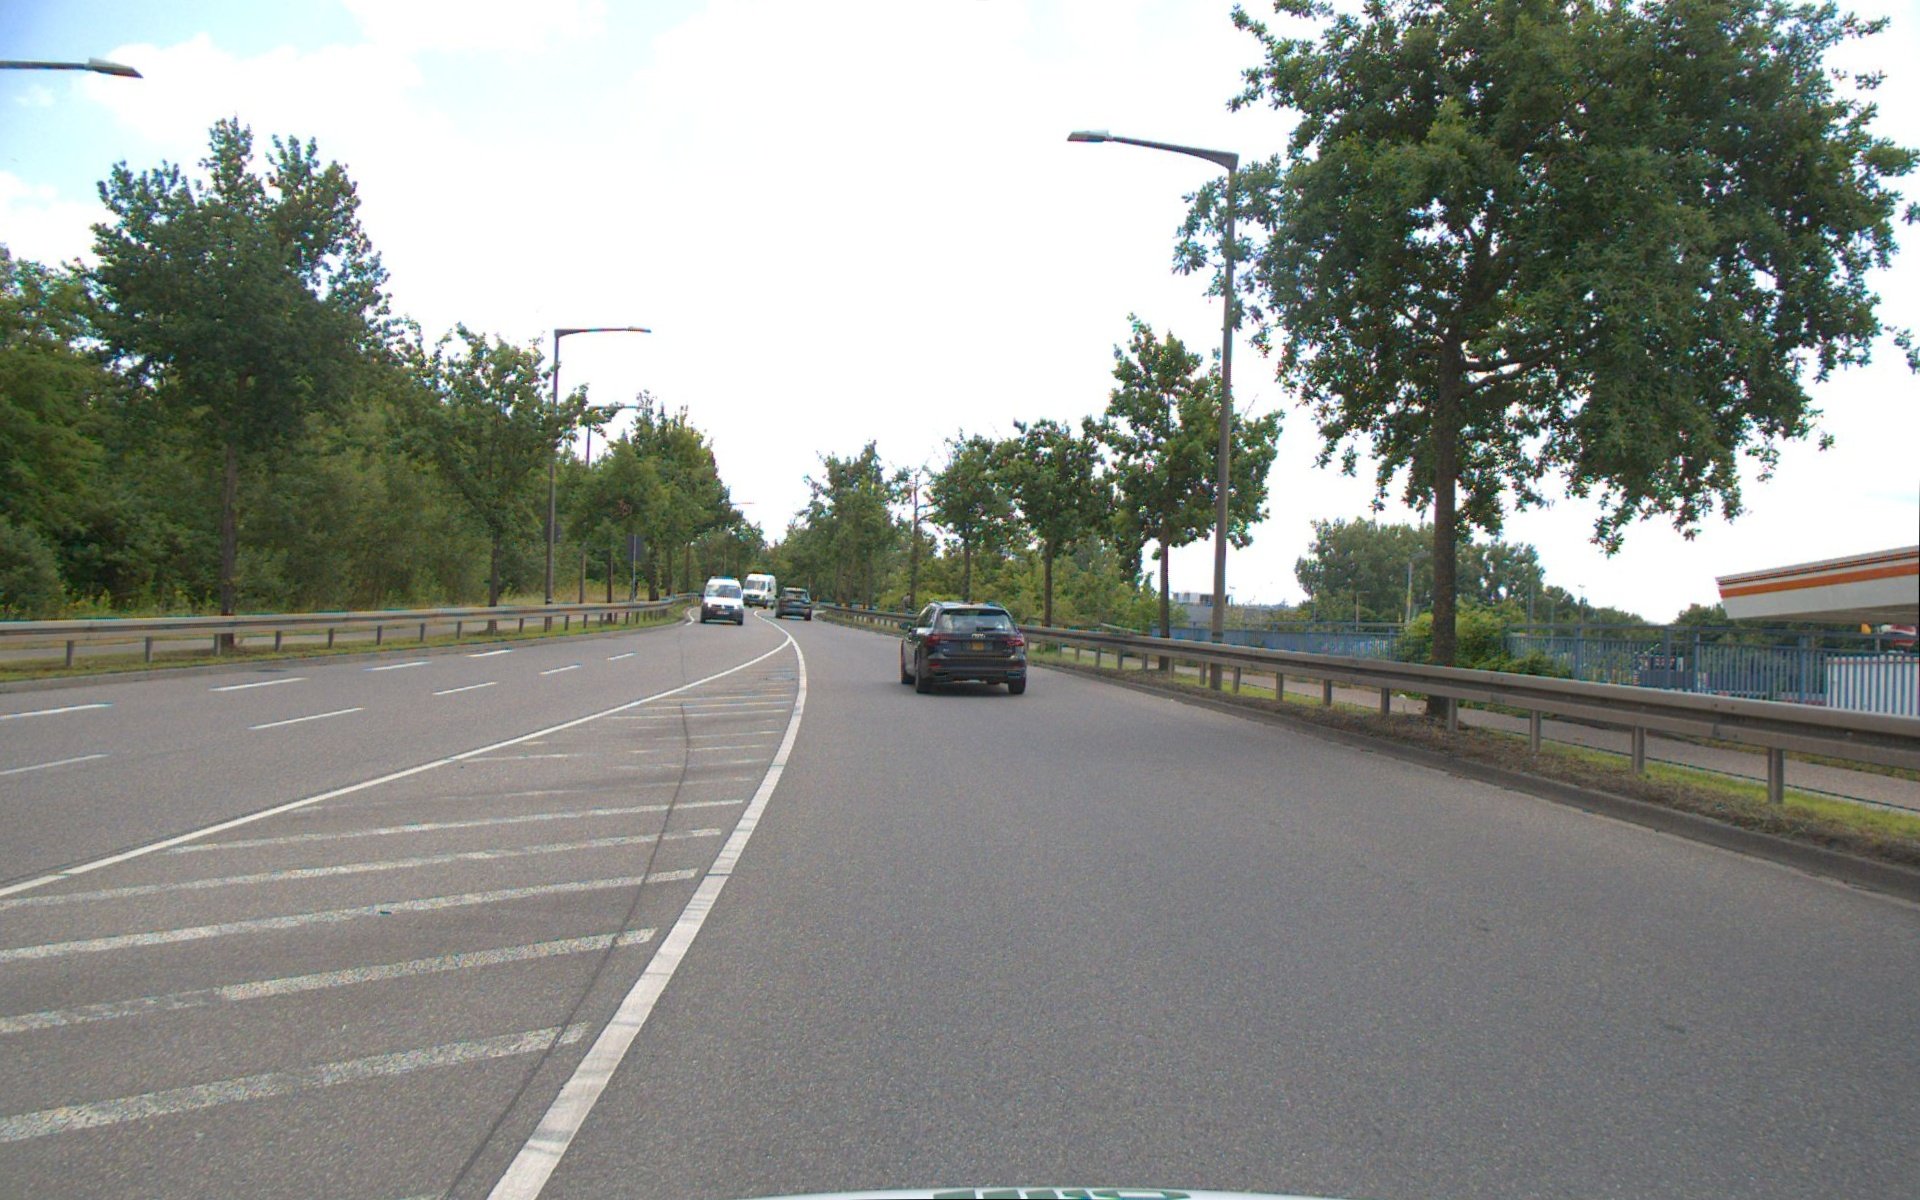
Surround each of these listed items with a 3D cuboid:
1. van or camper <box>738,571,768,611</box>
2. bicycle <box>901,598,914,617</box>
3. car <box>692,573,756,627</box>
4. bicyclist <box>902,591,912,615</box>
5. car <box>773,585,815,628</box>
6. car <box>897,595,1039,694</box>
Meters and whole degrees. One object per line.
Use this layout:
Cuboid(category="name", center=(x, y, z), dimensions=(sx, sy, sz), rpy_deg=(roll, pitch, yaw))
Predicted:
Cuboid(category="van or camper", center=(-15.912, -0.638, 126.792), dimensions=(1.957, 2.798, 5.374), rpy_deg=(4, -2, -9))
Cuboid(category="bicycle", center=(-2.647, 0.367, 83.181), dimensions=(0.531, 0.881, 1.748), rpy_deg=(4, -2, -5))
Cuboid(category="car", center=(-9.721, -0.018, 68.465), dimensions=(1.953, 2.048, 4.557), rpy_deg=(3, 0, -1))
Cuboid(category="bicyclist", center=(-2.666, 0.152, 83.109), dimensions=(0.464, 1.188, 0.826), rpy_deg=(1, 0, -6))
Cuboid(category="car", center=(-8.952, 0.381, 89.391), dimensions=(1.954, 2.073, 4.709), rpy_deg=(2, -2, -3))
Cuboid(category="car", center=(0.039, 0.696, 27.577), dimensions=(1.954, 1.415, 4.571), rpy_deg=(3, -1, -4))
